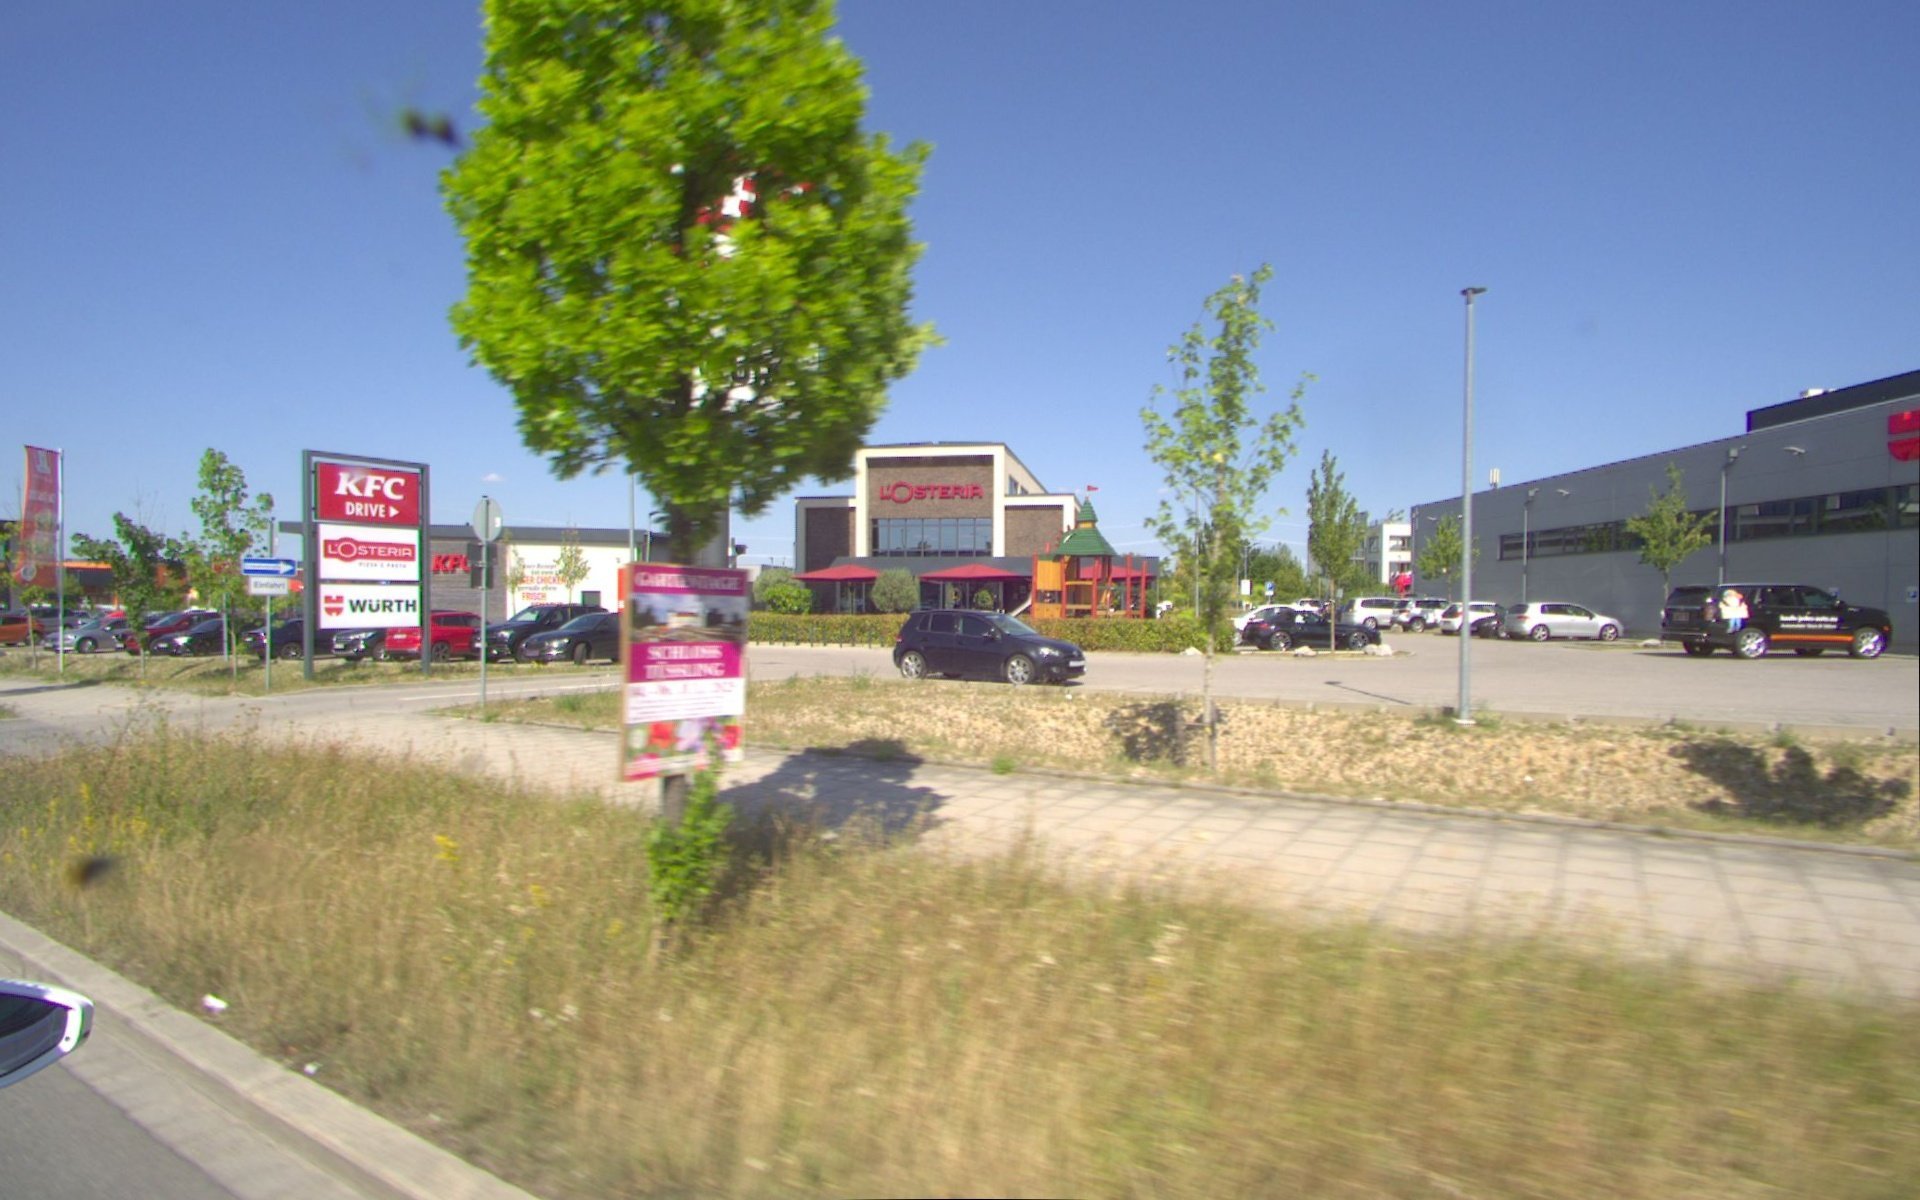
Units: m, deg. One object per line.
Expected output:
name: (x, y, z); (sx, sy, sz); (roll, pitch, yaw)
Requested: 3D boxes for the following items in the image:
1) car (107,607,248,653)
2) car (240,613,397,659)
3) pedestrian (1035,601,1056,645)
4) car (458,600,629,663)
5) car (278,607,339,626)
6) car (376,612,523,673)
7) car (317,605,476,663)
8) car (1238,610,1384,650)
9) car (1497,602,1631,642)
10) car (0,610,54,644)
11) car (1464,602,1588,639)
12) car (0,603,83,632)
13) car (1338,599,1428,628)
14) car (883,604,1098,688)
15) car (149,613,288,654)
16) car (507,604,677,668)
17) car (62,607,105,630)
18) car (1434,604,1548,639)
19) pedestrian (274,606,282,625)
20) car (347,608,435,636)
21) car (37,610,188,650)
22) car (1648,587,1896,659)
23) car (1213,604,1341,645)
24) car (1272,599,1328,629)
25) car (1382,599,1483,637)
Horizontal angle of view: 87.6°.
car: (-31.674, 1.161, 40.675); (1.838, 1.687, 4.153); (1, 1, 25)
car: (-22.802, 1.230, 35.728); (1.769, 1.469, 4.386); (1, 1, 39)
pedestrian: (3.508, 0.936, 41.007); (0.806, 1.772, 0.518); (0, 0, 14)
car: (-12.995, 0.916, 31.611); (1.908, 1.758, 4.979); (1, 1, 26)
car: (-52.901, 1.307, 81.356); (4.112, 1.542, 1.781); (0, 0, -32)
car: (-16.397, 1.302, 32.413); (1.758, 1.758, 4.415); (0, 1, 14)
car: (-18.792, 1.064, 33.612); (1.763, 1.758, 4.401); (1, 1, 28)
car: (11.079, 0.939, 31.782); (4.055, 1.228, 1.654); (0, 0, 0)
car: (22.794, 0.836, 37.875); (4.029, 1.481, 1.702); (0, 0, 1)
car: (-44.918, 1.241, 46.221); (1.835, 1.510, 4.211); (0, 0, 18)
car: (22.735, 0.820, 40.330); (4.029, 1.481, 1.702); (0, 0, 1)
car: (-55.491, 1.008, 60.026); (1.757, 1.657, 4.167); (0, 0, 10)
car: (22.289, 0.700, 52.865); (4.029, 1.481, 1.702); (0, 0, 1)
car: (0.582, 0.879, 20.482); (4.110, 1.560, 1.776); (0, 0, 33)
car: (-29.330, 1.282, 39.761); (1.759, 1.469, 4.158); (0, 1, 19)
car: (-10.267, 0.933, 28.294); (1.963, 1.587, 4.403); (1, 1, 26)
car: (-58.688, 1.201, 67.091); (1.769, 1.470, 4.139); (0, 0, -36)
car: (22.994, 0.930, 43.444); (4.029, 1.481, 1.702); (0, 0, 1)
pedestrian: (-45.187, 1.007, 66.338); (0.287, 1.257, 0.380); (0, 1, 9)
car: (-32.050, 1.190, 56.544); (1.833, 1.451, 4.566); (0, 1, 10)
car: (-35.820, 1.233, 42.496); (1.836, 1.510, 4.558); (0, 1, 21)
car: (21.423, 0.587, 26.601); (4.828, 1.840, 2.049); (0, 0, 2)
car: (11.564, 0.889, 36.667); (4.150, 1.491, 1.702); (0, 0, 0)
car: (21.536, 0.880, 63.647); (2.009, 1.839, 4.924); (0, 0, 2)
car: (22.622, 0.846, 48.048); (4.029, 1.780, 1.702); (0, 0, 1)
